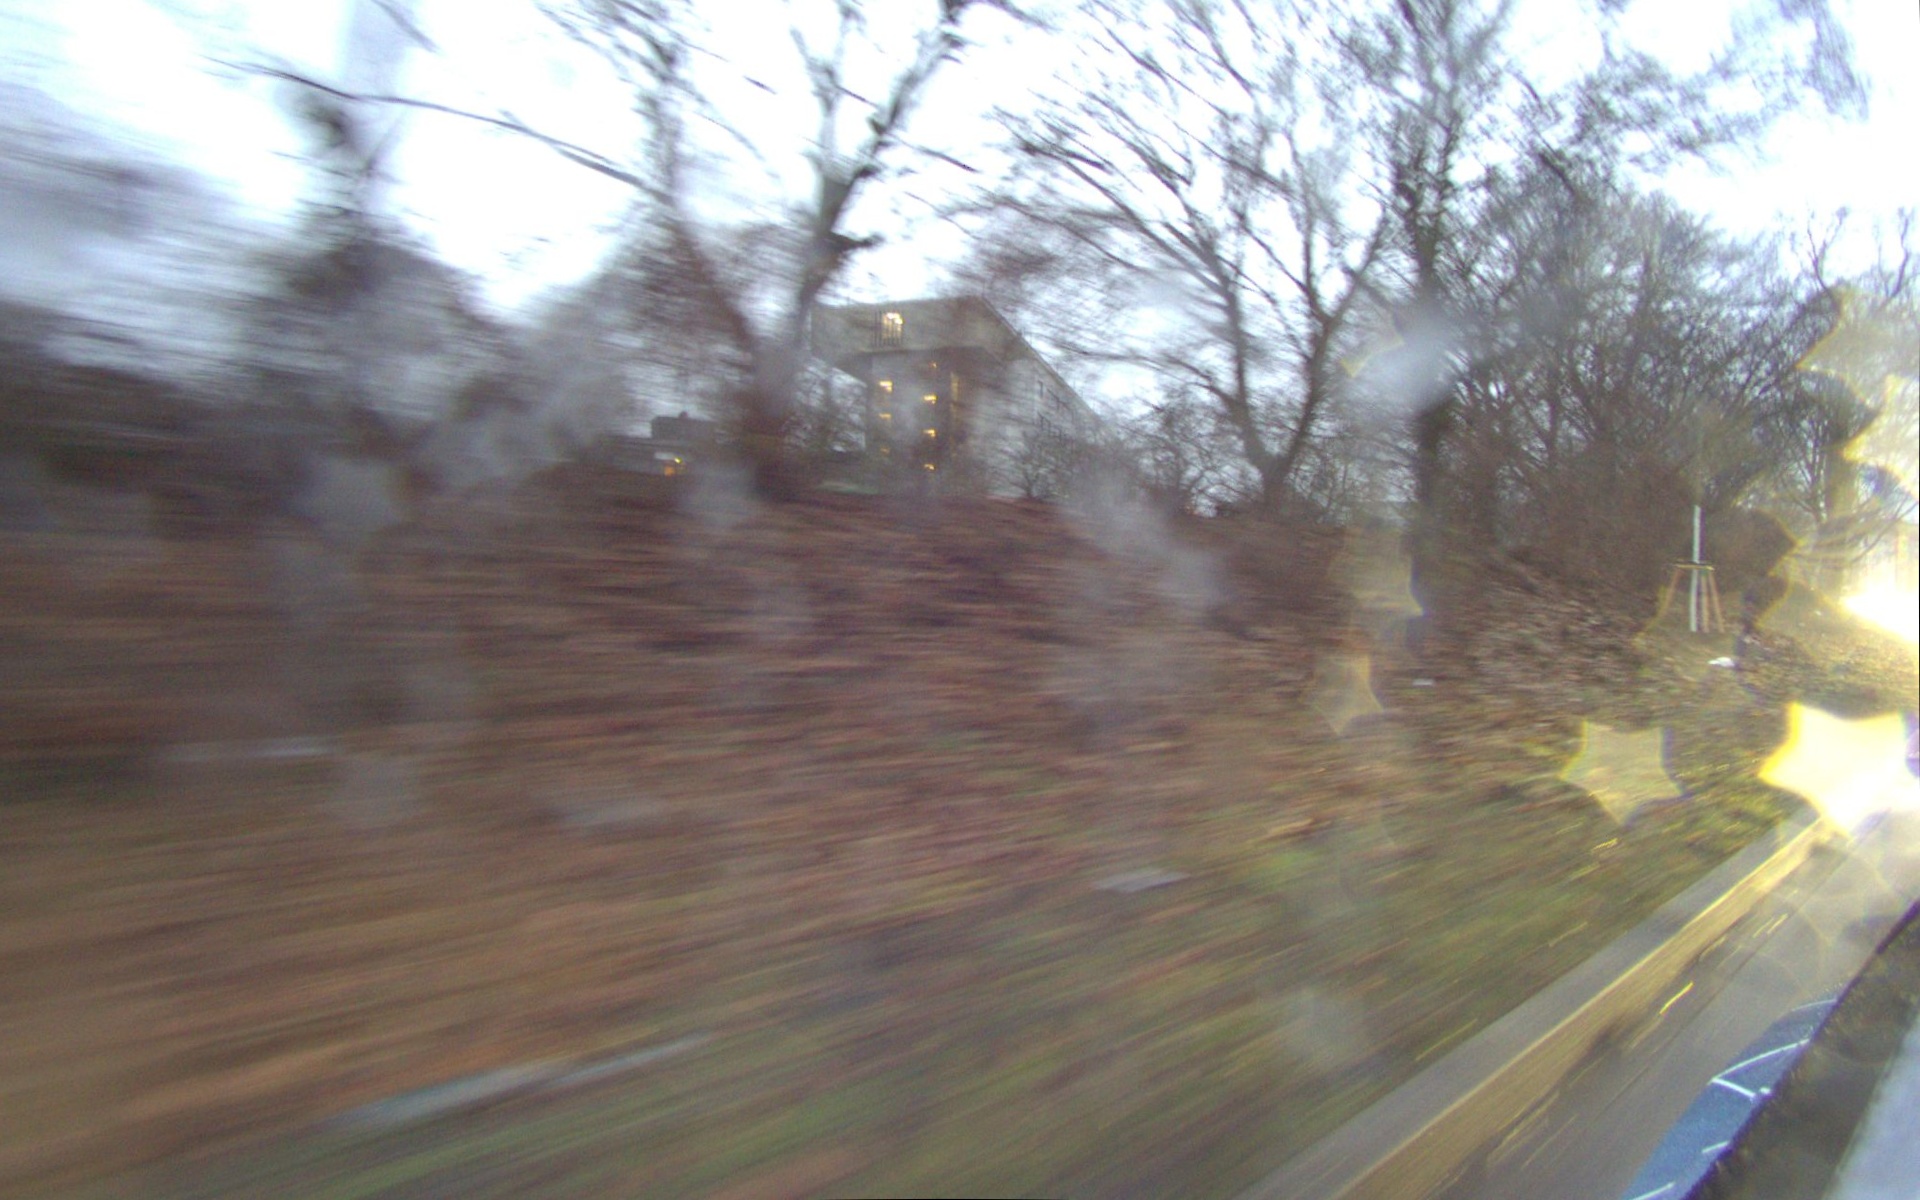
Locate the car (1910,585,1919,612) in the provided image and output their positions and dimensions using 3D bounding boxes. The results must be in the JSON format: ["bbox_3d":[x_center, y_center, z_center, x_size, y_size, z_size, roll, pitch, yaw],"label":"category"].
[{"bbox_3d":[57.655,-0.095,59.770,1.941,1.575,4.157,-1,0,40],"label":"car"}]
